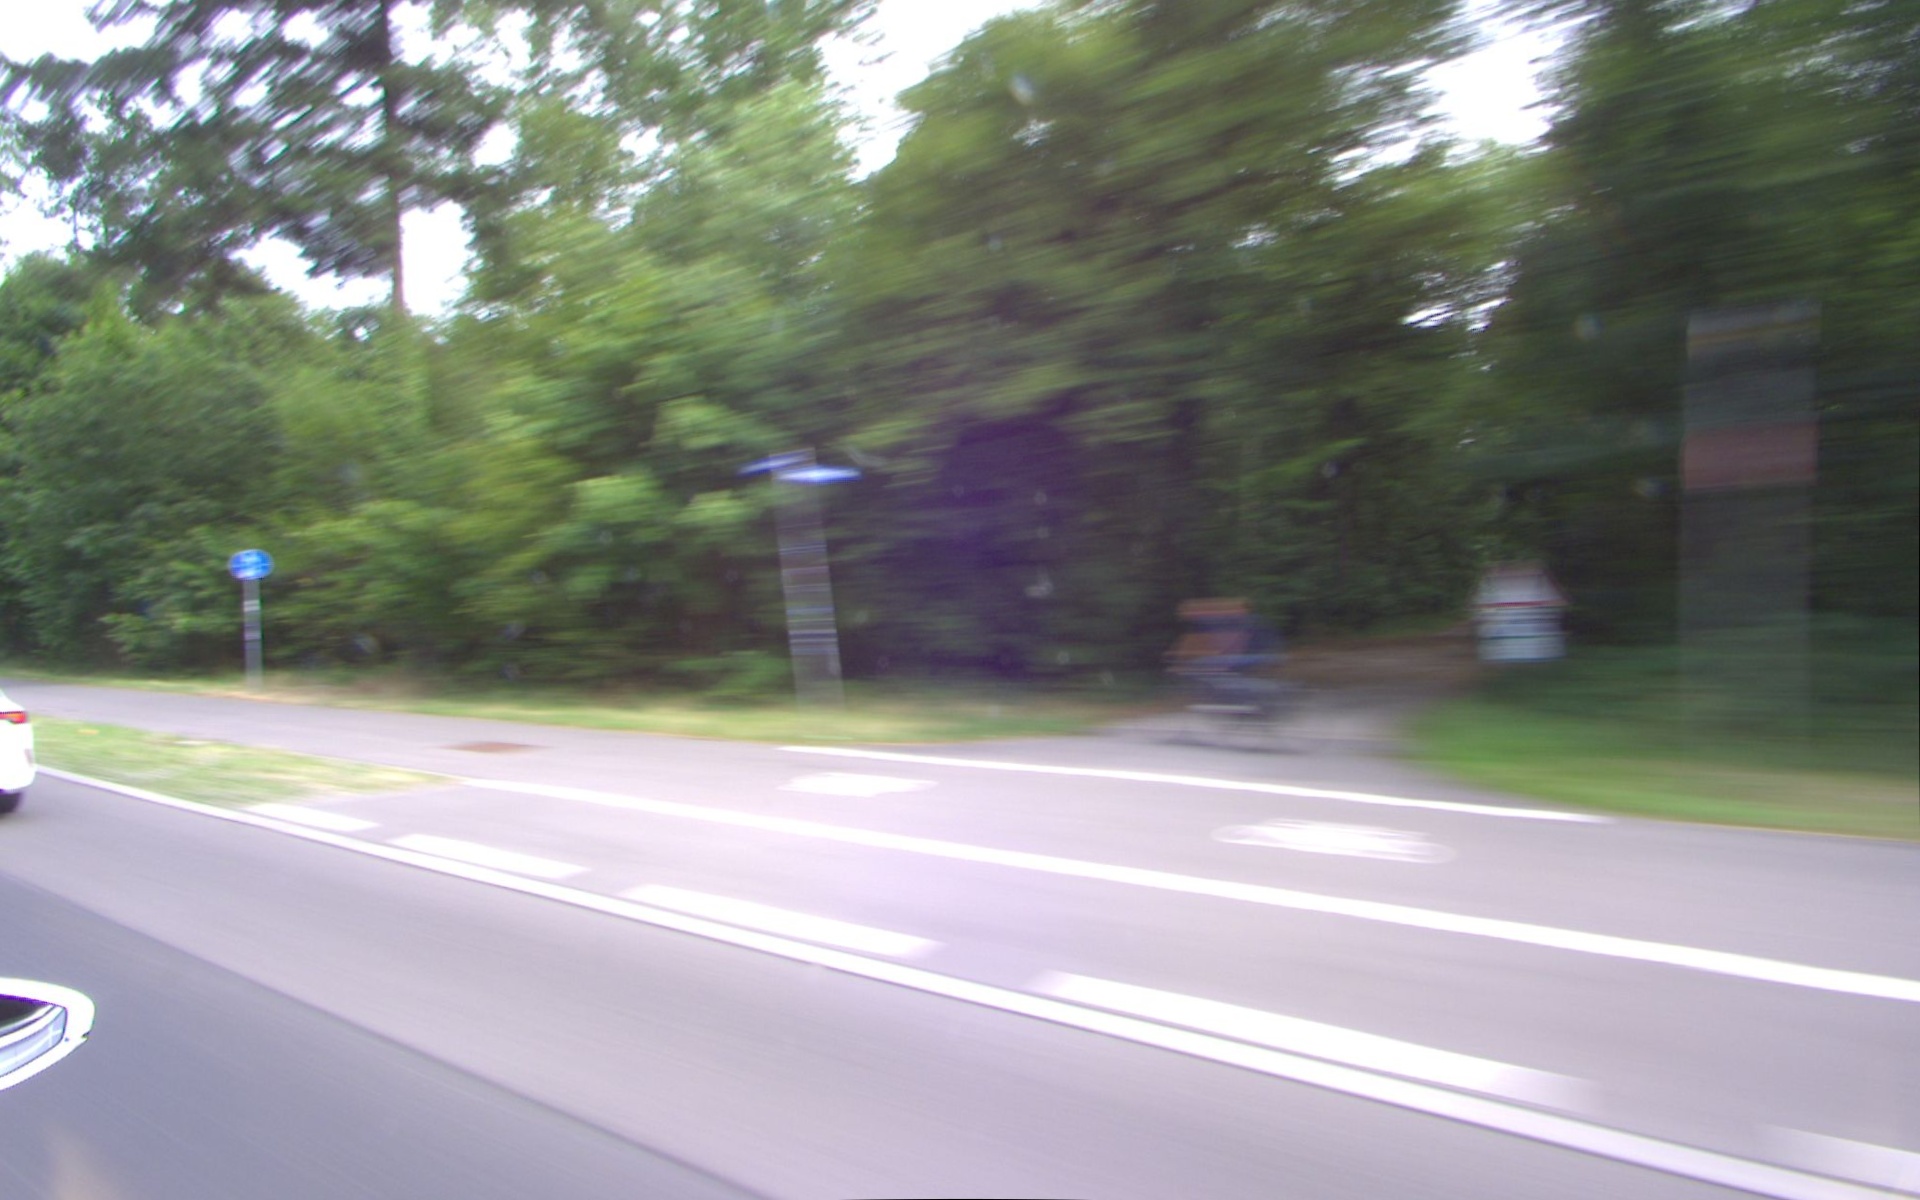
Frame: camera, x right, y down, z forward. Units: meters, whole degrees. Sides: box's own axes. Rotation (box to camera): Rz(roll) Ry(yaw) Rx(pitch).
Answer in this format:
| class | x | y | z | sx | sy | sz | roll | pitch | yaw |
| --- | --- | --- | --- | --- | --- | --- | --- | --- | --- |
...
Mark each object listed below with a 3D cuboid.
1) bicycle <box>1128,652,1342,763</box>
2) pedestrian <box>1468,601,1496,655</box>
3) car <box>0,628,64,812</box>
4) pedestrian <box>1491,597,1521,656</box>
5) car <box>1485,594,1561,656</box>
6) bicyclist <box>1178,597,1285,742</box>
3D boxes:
| class | x | y | z | sx | sy | sz | roll | pitch | yaw |
| --- | --- | --- | --- | --- | --- | --- | --- | --- | --- |
| bicycle | 2.916 | 1.105 | 10.809 | 2.157 | 1.007 | 0.705 | -1 | -1 | 43 |
| pedestrian | 17.222 | 0.931 | 33.049 | 0.658 | 1.730 | 0.552 | 2 | -3 | -37 |
| car | -9.588 | 0.944 | 8.529 | 4.428 | 1.428 | 1.833 | -1 | -2 | 33 |
| pedestrian | 16.442 | 0.808 | 30.169 | 0.746 | 1.730 | 0.663 | -1 | -3 | 30 |
| car | 17.989 | 0.872 | 32.006 | 1.970 | 1.816 | 3.985 | -2 | -4 | 29 |
| bicyclist | 2.924 | 0.718 | 10.796 | 0.891 | 1.490 | 0.705 | 0 | 0 | 43 |
